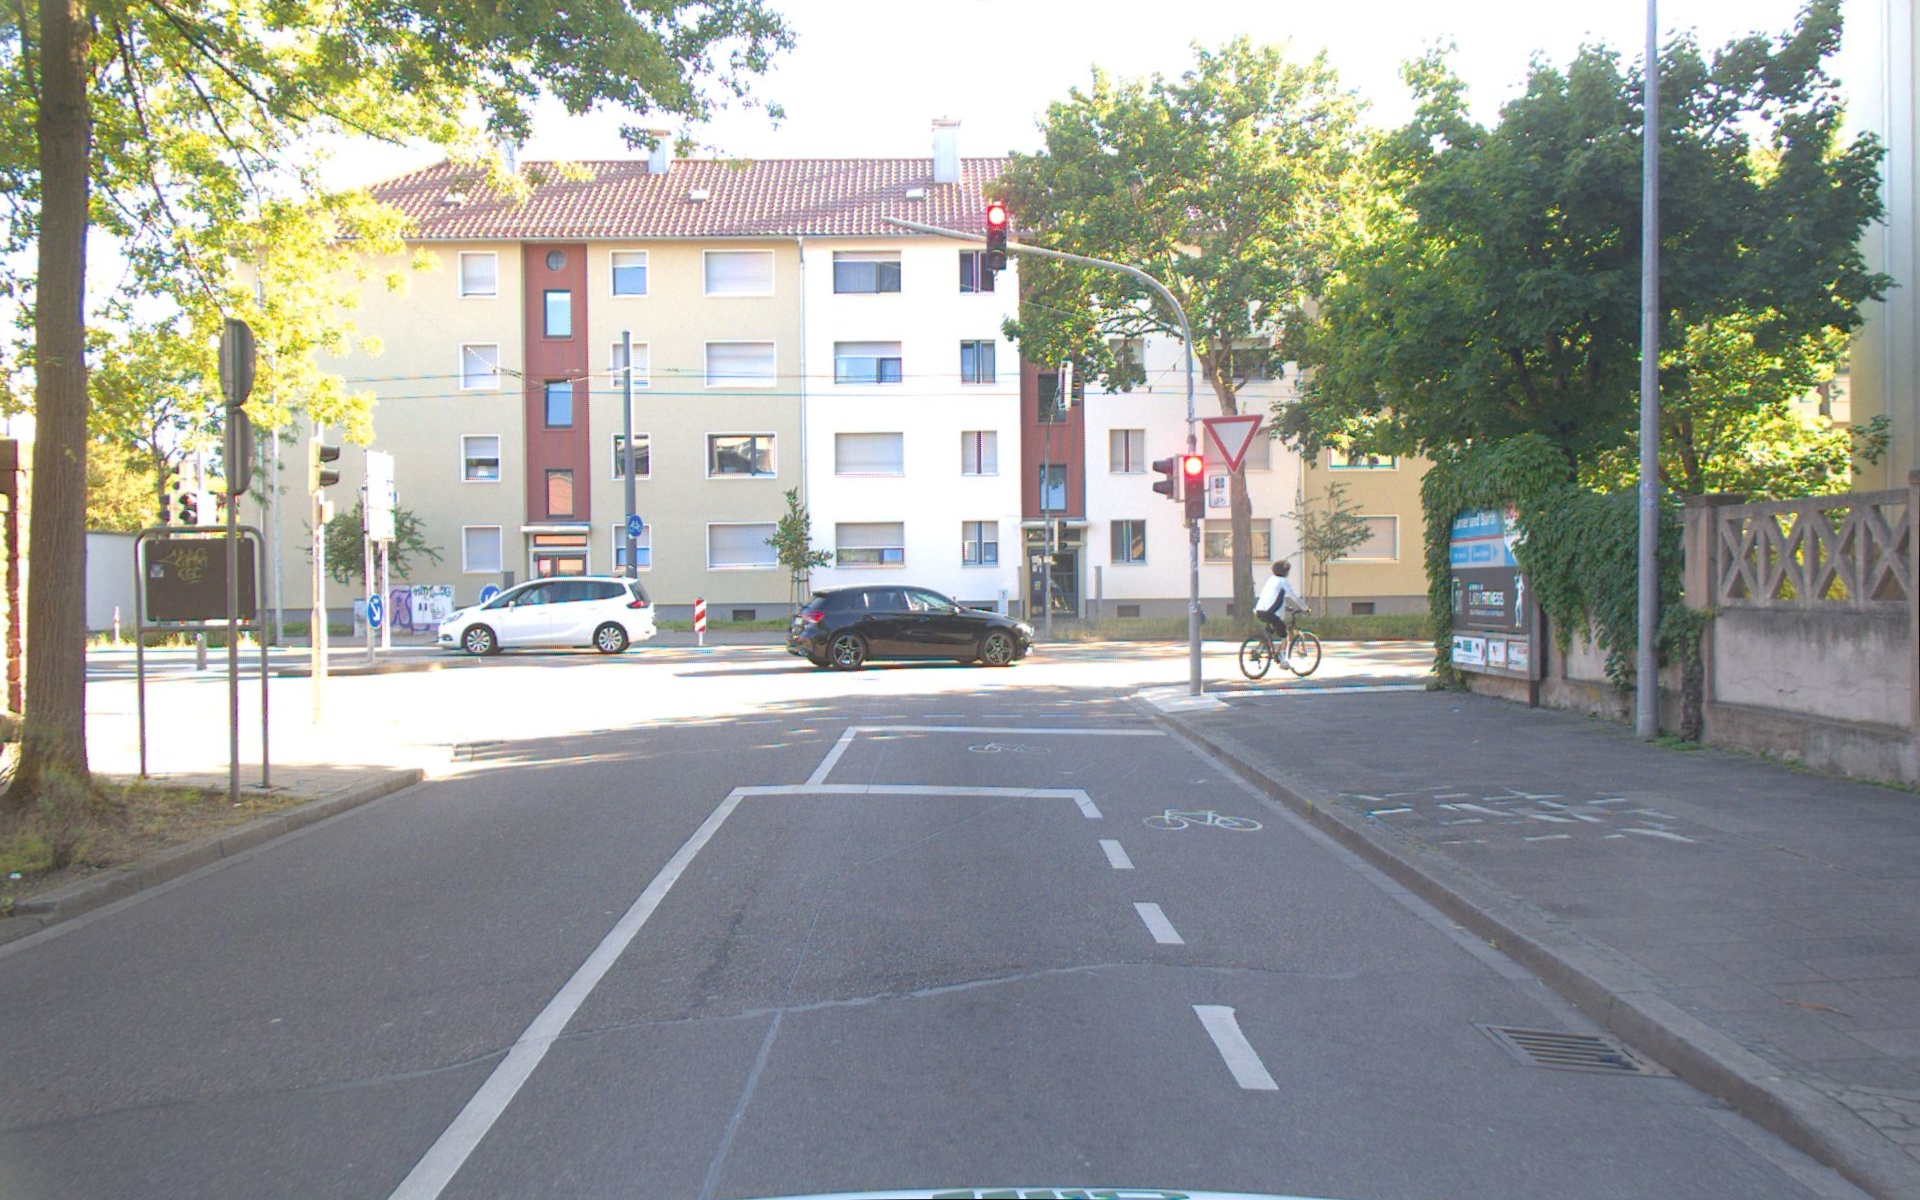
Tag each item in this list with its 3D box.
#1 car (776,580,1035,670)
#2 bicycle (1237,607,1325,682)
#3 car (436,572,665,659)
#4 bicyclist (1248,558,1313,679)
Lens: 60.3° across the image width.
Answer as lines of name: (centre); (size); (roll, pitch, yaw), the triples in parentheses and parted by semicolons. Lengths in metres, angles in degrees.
car: (-0.942, 0.390, 28.606); (4.137, 1.446, 1.840); (0, 1, -24)
bicycle: (4.890, 0.660, 25.128); (1.673, 1.099, 0.346); (-1, 0, -40)
car: (-8.744, 0.307, 35.680); (4.574, 1.770, 1.997); (-1, 1, -8)
bicyclist: (4.849, 0.268, 25.049); (0.781, 1.788, 0.604); (-1, 0, -39)
